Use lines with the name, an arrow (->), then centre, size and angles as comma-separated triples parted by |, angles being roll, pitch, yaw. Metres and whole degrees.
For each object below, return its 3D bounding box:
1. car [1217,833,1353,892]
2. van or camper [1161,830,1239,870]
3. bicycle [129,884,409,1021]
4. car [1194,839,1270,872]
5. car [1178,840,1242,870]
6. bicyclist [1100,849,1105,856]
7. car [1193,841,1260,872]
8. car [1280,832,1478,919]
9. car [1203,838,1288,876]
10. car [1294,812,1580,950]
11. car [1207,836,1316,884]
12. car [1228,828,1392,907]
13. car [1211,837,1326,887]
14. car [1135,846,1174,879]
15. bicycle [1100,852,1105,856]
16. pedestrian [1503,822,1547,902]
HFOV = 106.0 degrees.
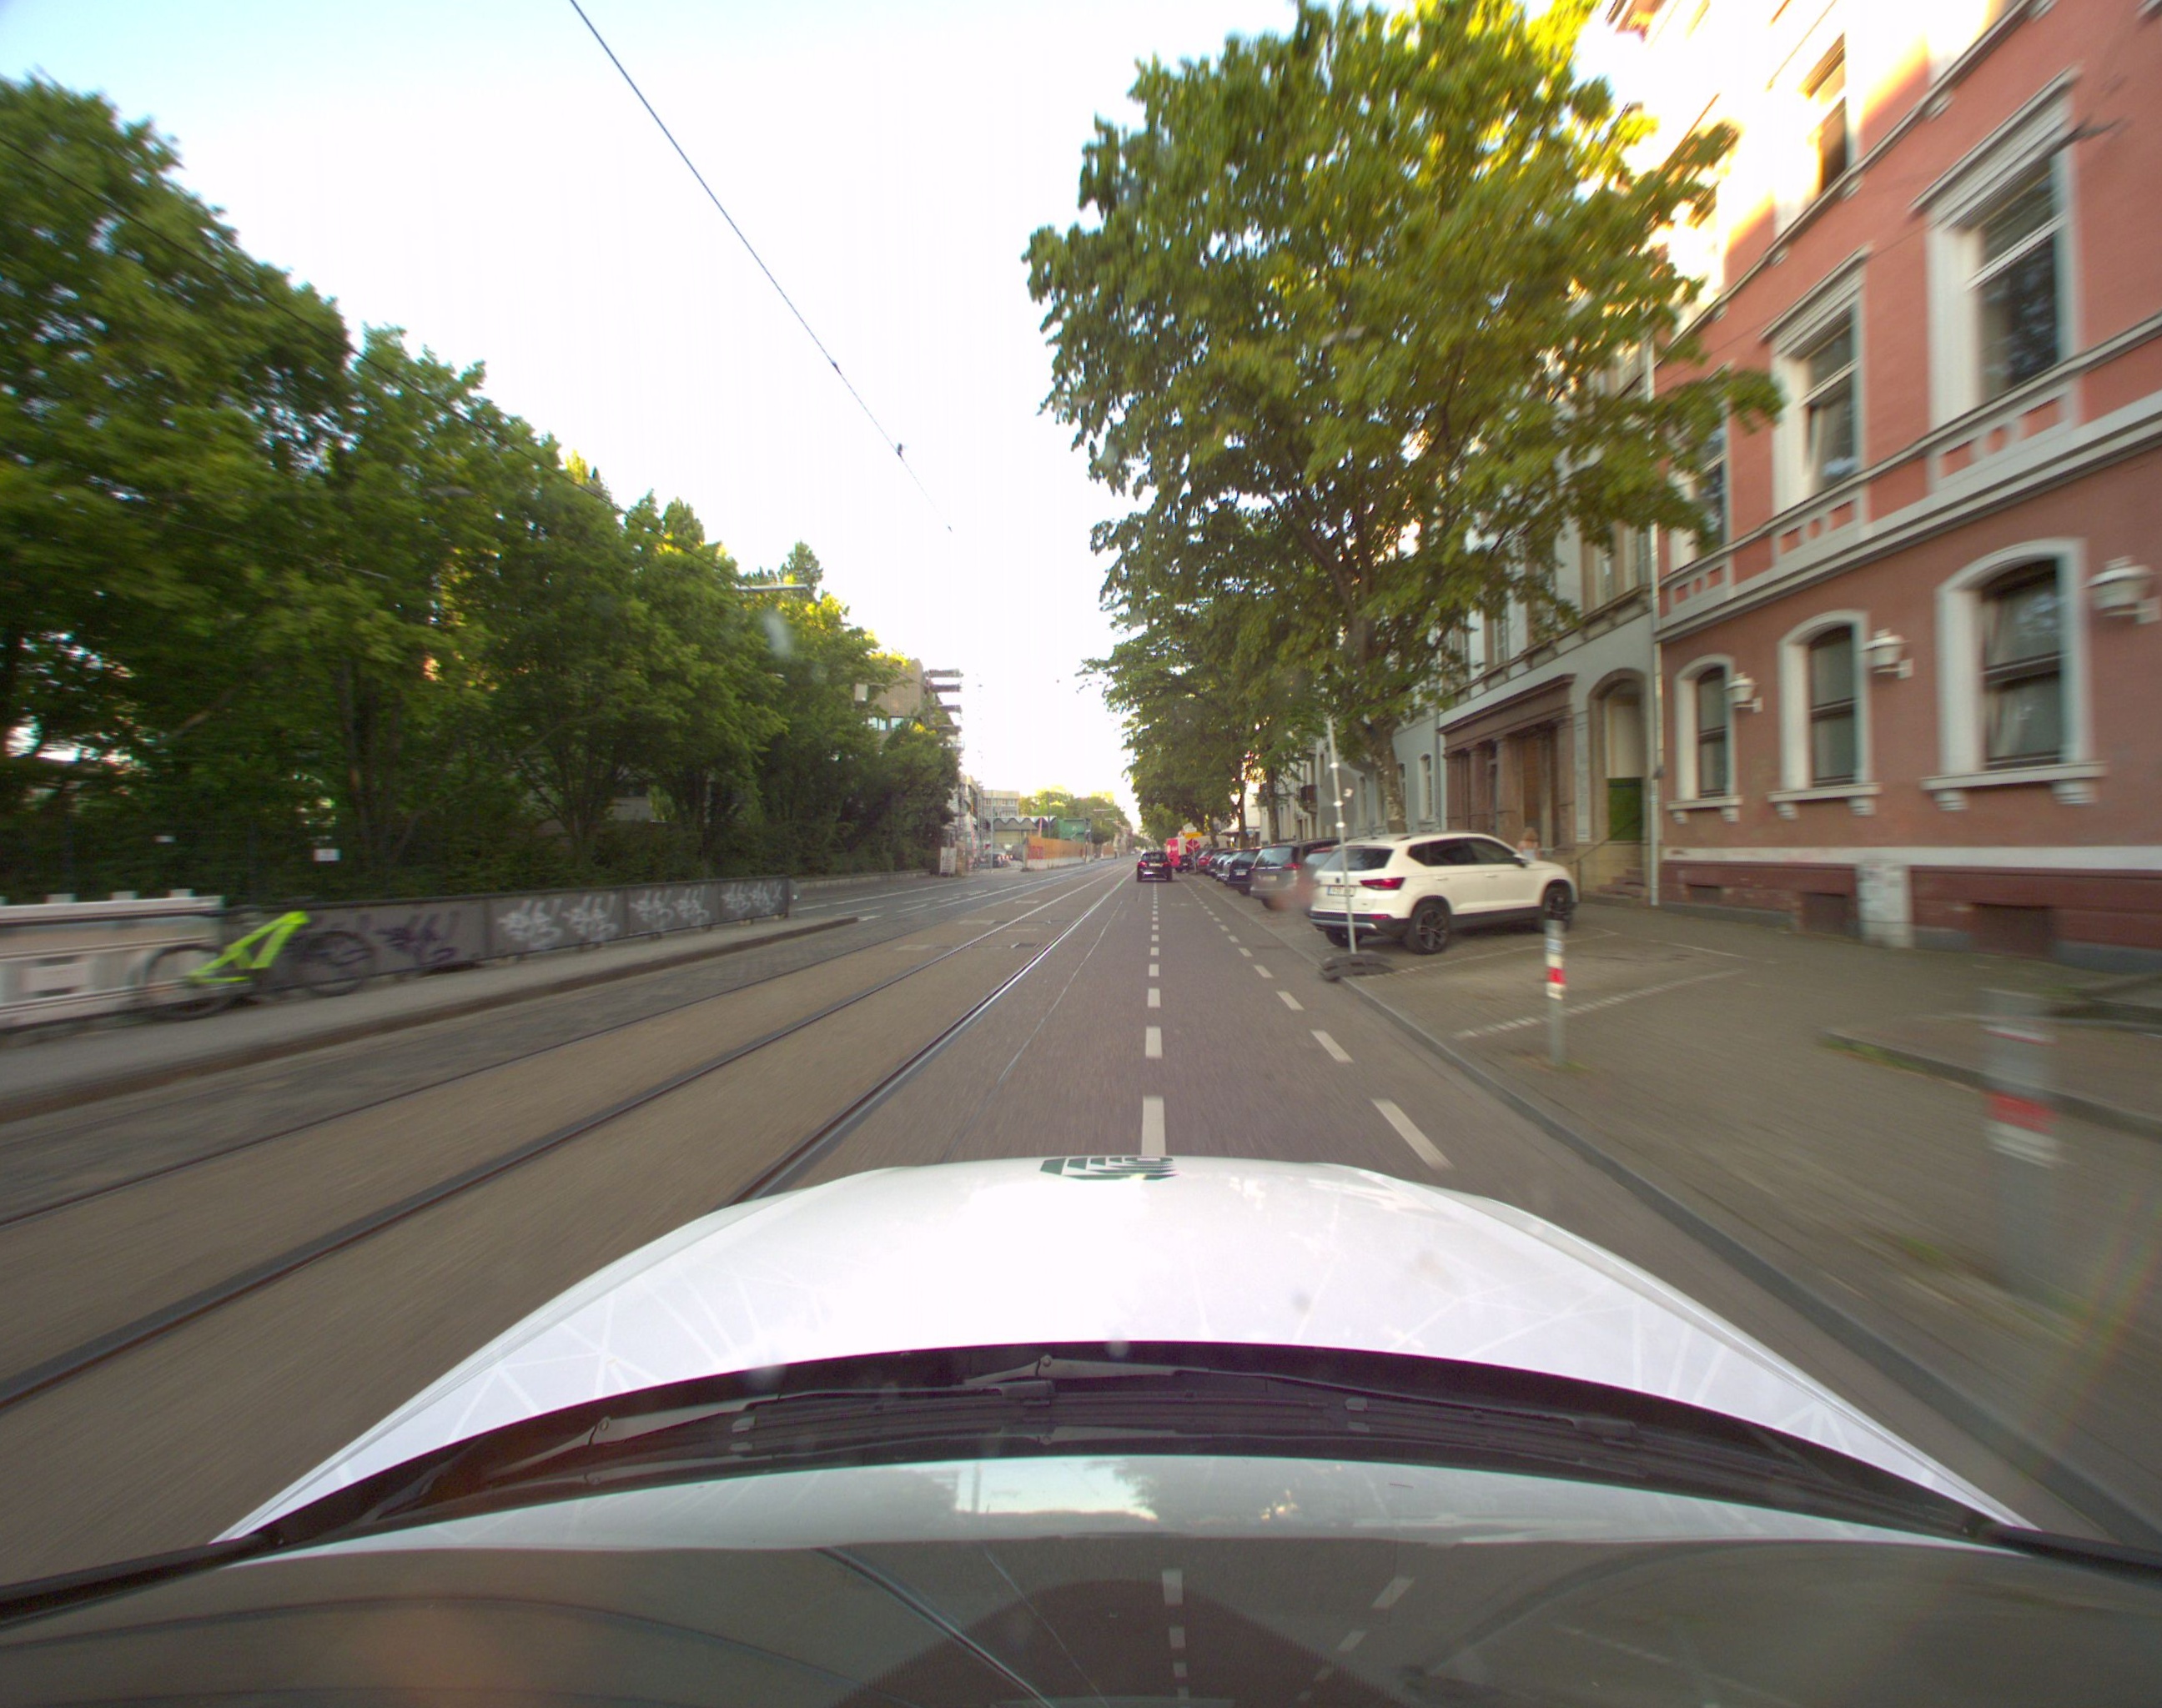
car -> 6.590, 0.268, 26.280 | 3.964, 1.603, 1.824 | -4, 0, -27
van or camper -> 8.890, -0.343, 60.614 | 5.567, 2.530, 2.066 | -4, 0, -30
bicycle -> -7.788, 0.883, 7.976 | 0.459, 1.075, 2.027 | -2, 0, 9
car -> 8.983, 0.097, 48.486 | 3.958, 1.603, 1.827 | -4, 0, -22
car -> 9.050, 0.061, 57.296 | 3.958, 1.765, 1.827 | -4, 0, -22
bicyclist -> 4.333, -0.222, 162.878 | 0.941, 1.346, 1.112 | -2, 0, 2
car -> 9.770, 0.149, 54.719 | 3.958, 1.765, 1.827 | -4, 0, -22
car -> 6.382, 0.394, 17.368 | 3.967, 1.477, 1.813 | -4, 1, -30
car -> 8.527, 0.154, 42.122 | 3.964, 1.603, 1.824 | -5, 0, -27
car -> 5.307, 0.311, 12.095 | 3.963, 1.626, 1.660 | -4, 1, -26
car -> 7.336, 0.238, 33.027 | 3.964, 1.603, 1.824 | -5, 0, -27
car -> 5.807, 0.309, 20.482 | 3.974, 1.668, 1.880 | -4, 0, -38
car -> 7.079, 0.285, 30.682 | 3.967, 1.603, 1.823 | -3, -1, -30
car -> 3.775, 0.401, 41.812 | 1.873, 1.620, 4.005 | 1, 0, 5
bicycle -> 4.373, 0.028, 163.655 | 0.944, 0.849, 2.698 | -2, 0, 2
pedestrian -> 9.189, 0.158, 16.874 | 0.583, 1.609, 0.625 | -1, 0, 5
